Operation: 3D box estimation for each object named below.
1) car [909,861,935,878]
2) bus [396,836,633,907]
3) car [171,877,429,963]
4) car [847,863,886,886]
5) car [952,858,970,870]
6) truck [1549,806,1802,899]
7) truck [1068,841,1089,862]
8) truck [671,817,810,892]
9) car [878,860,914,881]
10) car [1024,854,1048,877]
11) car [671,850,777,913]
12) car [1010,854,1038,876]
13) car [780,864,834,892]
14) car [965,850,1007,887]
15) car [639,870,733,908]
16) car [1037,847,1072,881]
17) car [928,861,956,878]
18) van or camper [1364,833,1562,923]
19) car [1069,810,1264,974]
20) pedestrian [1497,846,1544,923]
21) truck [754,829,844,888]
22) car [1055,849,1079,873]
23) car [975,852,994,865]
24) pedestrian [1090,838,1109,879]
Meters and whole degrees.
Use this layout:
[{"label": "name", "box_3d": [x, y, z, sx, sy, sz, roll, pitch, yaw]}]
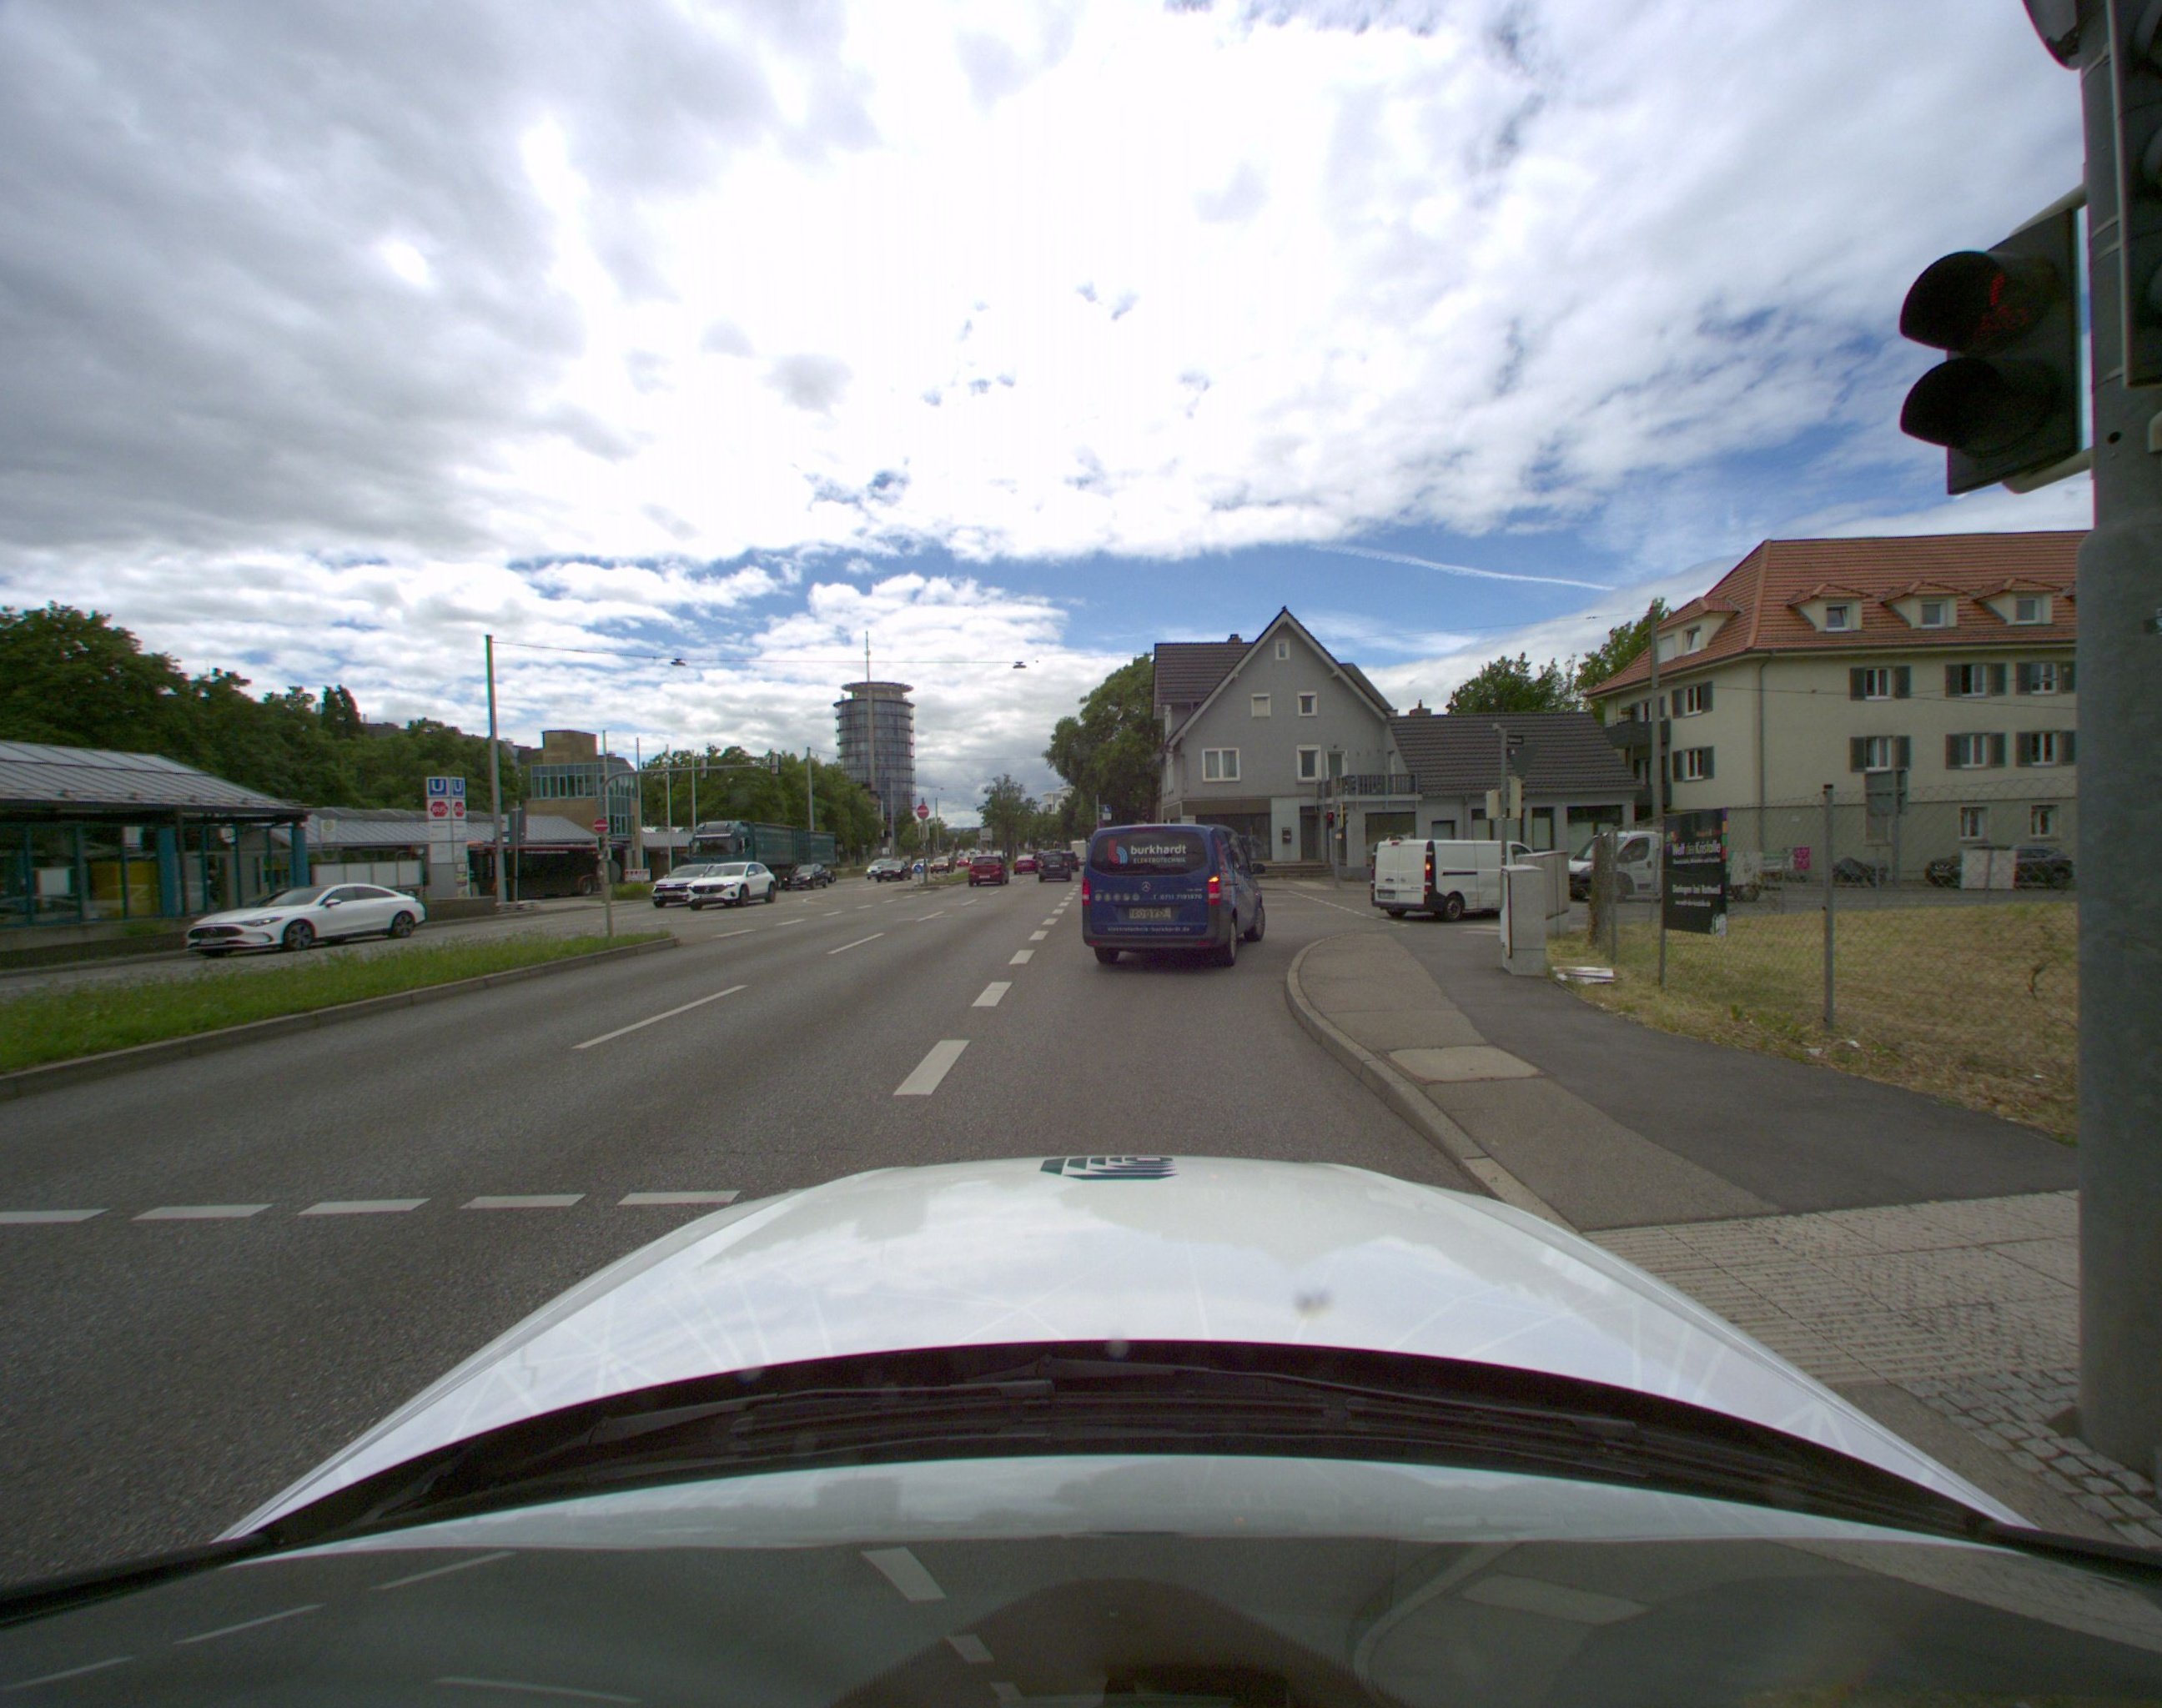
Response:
[{"label": "car", "box_3d": [-16.641, 1.603, 85.396, 1.988, 1.574, 3.998, -2, 0, -1]}, {"label": "bus", "box_3d": [-28.991, 0.827, 42.914, 2.942, 3.133, 12.181, -1, 0, 6]}, {"label": "car", "box_3d": [-17.936, 1.428, 19.086, 1.728, 1.574, 4.503, -2, 0, -2]}, {"label": "car", "box_3d": [-16.638, 1.577, 63.377, 1.988, 1.574, 3.998, -2, 0, -1]}, {"label": "car", "box_3d": [-16.990, 1.335, 115.112, 1.988, 1.574, 3.998, -2, 0, -1]}, {"label": "truck", "box_3d": [18.198, -0.036, 25.149, 6.364, 2.701, 2.000, 0, -1, 1]}, {"label": "truck", "box_3d": [-0.216, -0.293, 86.294, 1.986, 2.165, 5.561, 0, 0, 2]}, {"label": "truck", "box_3d": [-18.999, 0.068, 46.620, 3.358, 3.727, 11.274, -1, 0, -1]}, {"label": "car", "box_3d": [-12.840, 1.139, 56.754, 1.992, 1.332, 4.433, -2, 0, -8]}, {"label": "car", "box_3d": [-4.347, 1.069, 77.381, 1.992, 2.013, 3.990, -1, 1, -7]}, {"label": "car", "box_3d": [-12.703, 0.928, 29.319, 1.988, 2.013, 4.176, -2, 0, -2]}, {"label": "car", "box_3d": [-4.383, 0.837, 61.853, 1.867, 1.486, 3.990, -2, -2, -7]}, {"label": "car", "box_3d": [-15.812, 1.357, 47.182, 1.792, 1.417, 3.998, -2, 0, -1]}, {"label": "car", "box_3d": [-4.709, 0.695, 40.882, 1.742, 1.723, 3.995, -2, 0, -3]}, {"label": "car", "box_3d": [-15.665, 1.339, 32.565, 1.824, 1.262, 3.998, -3, 0, -1]}, {"label": "car", "box_3d": [-1.415, 0.516, 43.997, 1.741, 1.723, 3.998, -2, 0, -1]}, {"label": "car", "box_3d": [-13.298, 1.458, 77.944, 1.988, 1.516, 3.997, -2, 0, -2]}, {"label": "van or camper", "box_3d": [9.707, 0.499, 20.610, 5.111, 2.013, 1.981, -1, 2, -30]}, {"label": "car", "box_3d": [1.505, 0.473, 12.181, 1.932, 1.965, 4.562, -2, 0, 18]}, {"label": "pedestrian", "box_3d": [9.340, 0.642, 17.332, 0.602, 1.597, 0.609, -1, -3, 0]}, {"label": "truck", "box_3d": [-19.536, 0.326, 57.086, 3.357, 3.727, 8.025, -2, 0, 0]}, {"label": "car", "box_3d": [-1.031, 0.544, 62.804, 1.741, 1.723, 3.999, -2, 0, -1]}, {"label": "car", "box_3d": [-12.558, 0.583, 105.710, 1.988, 1.574, 3.998, -2, 0, -1]}, {"label": "pedestrian", "box_3d": [0.907, 0.219, 40.247, 0.767, 2.013, 0.879, -2, 0, 6]}]
